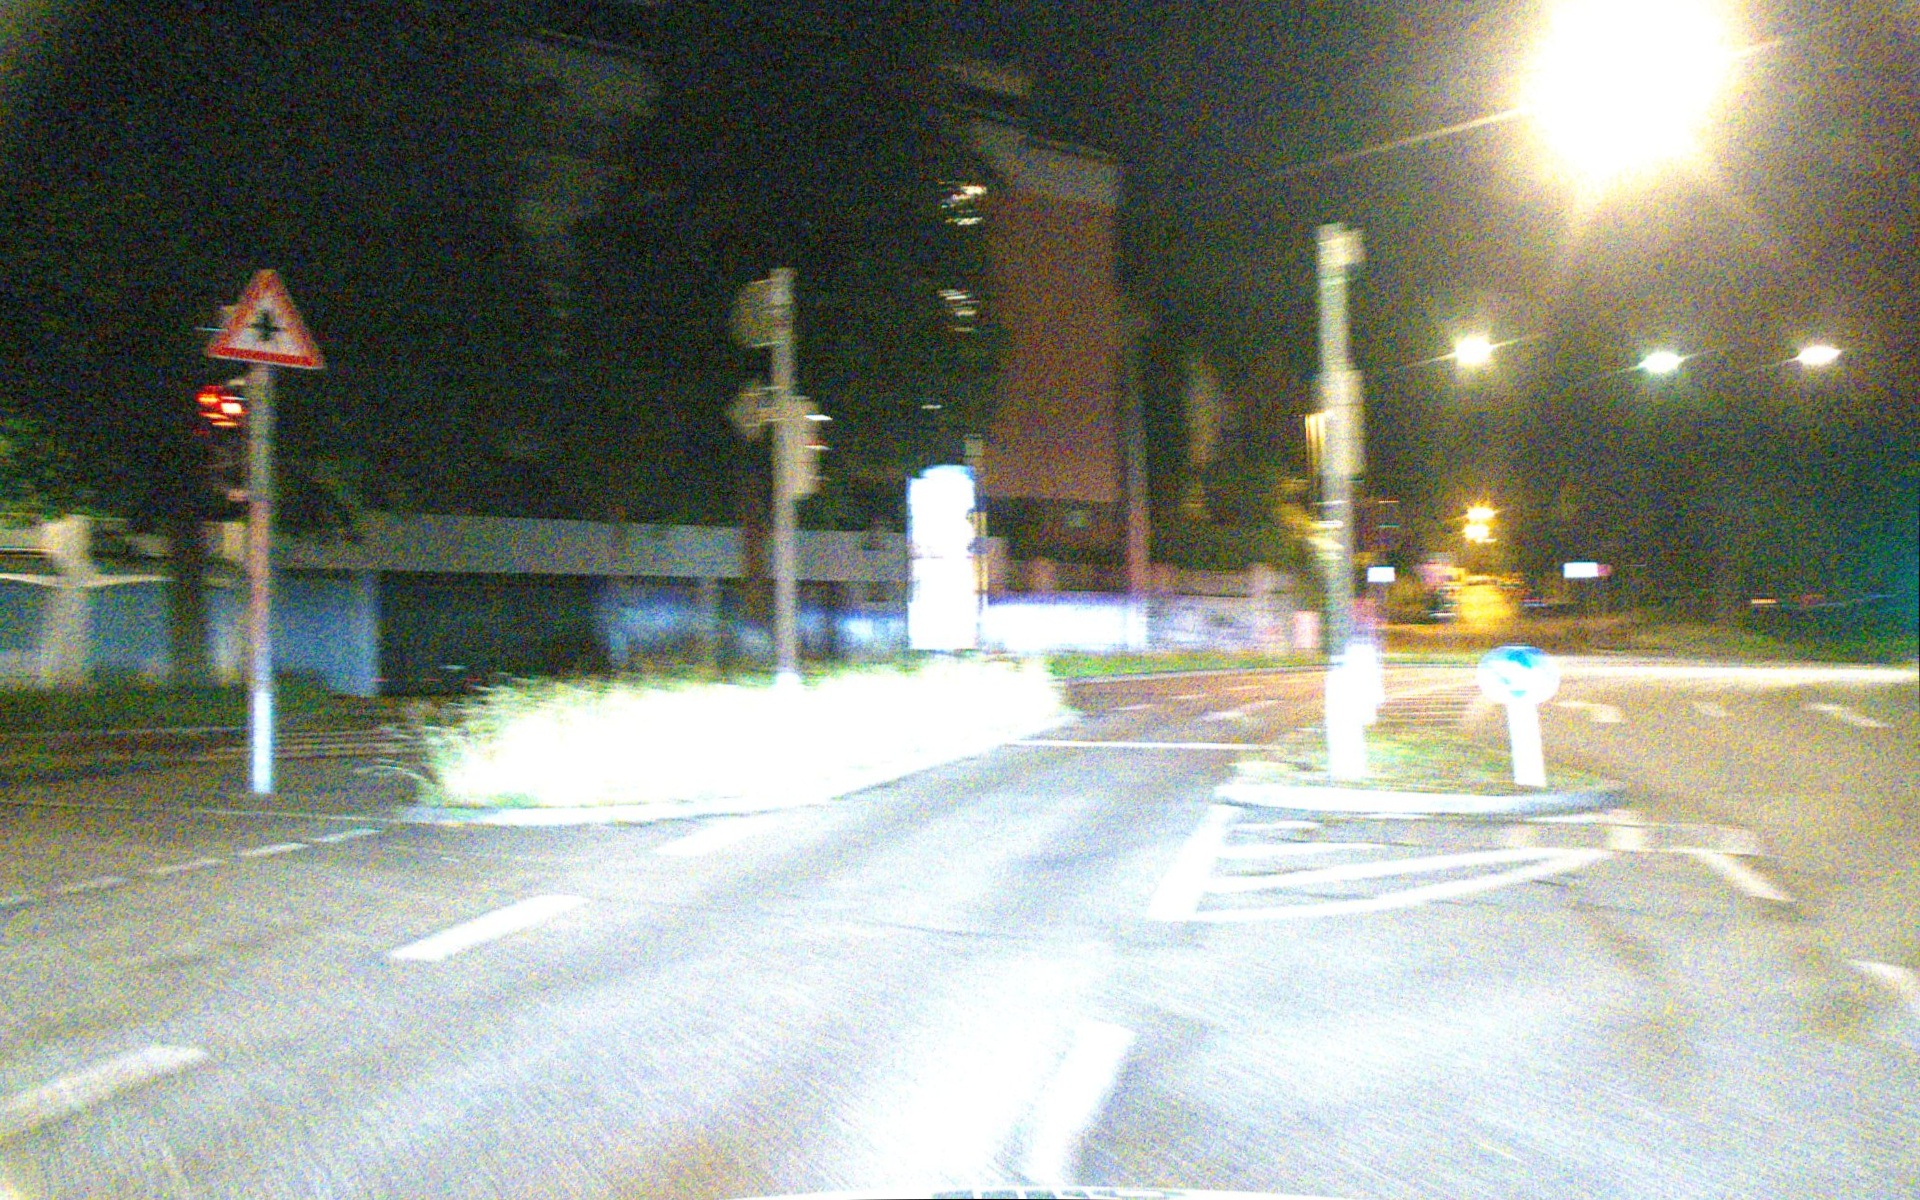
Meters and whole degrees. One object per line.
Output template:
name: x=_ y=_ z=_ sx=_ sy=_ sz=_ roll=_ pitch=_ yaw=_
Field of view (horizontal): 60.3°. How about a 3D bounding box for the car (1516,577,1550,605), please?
car: x=38.050 y=-0.592 z=109.965 sx=1.951 sy=1.800 sz=4.002 roll=-1 pitch=0 yaw=17
